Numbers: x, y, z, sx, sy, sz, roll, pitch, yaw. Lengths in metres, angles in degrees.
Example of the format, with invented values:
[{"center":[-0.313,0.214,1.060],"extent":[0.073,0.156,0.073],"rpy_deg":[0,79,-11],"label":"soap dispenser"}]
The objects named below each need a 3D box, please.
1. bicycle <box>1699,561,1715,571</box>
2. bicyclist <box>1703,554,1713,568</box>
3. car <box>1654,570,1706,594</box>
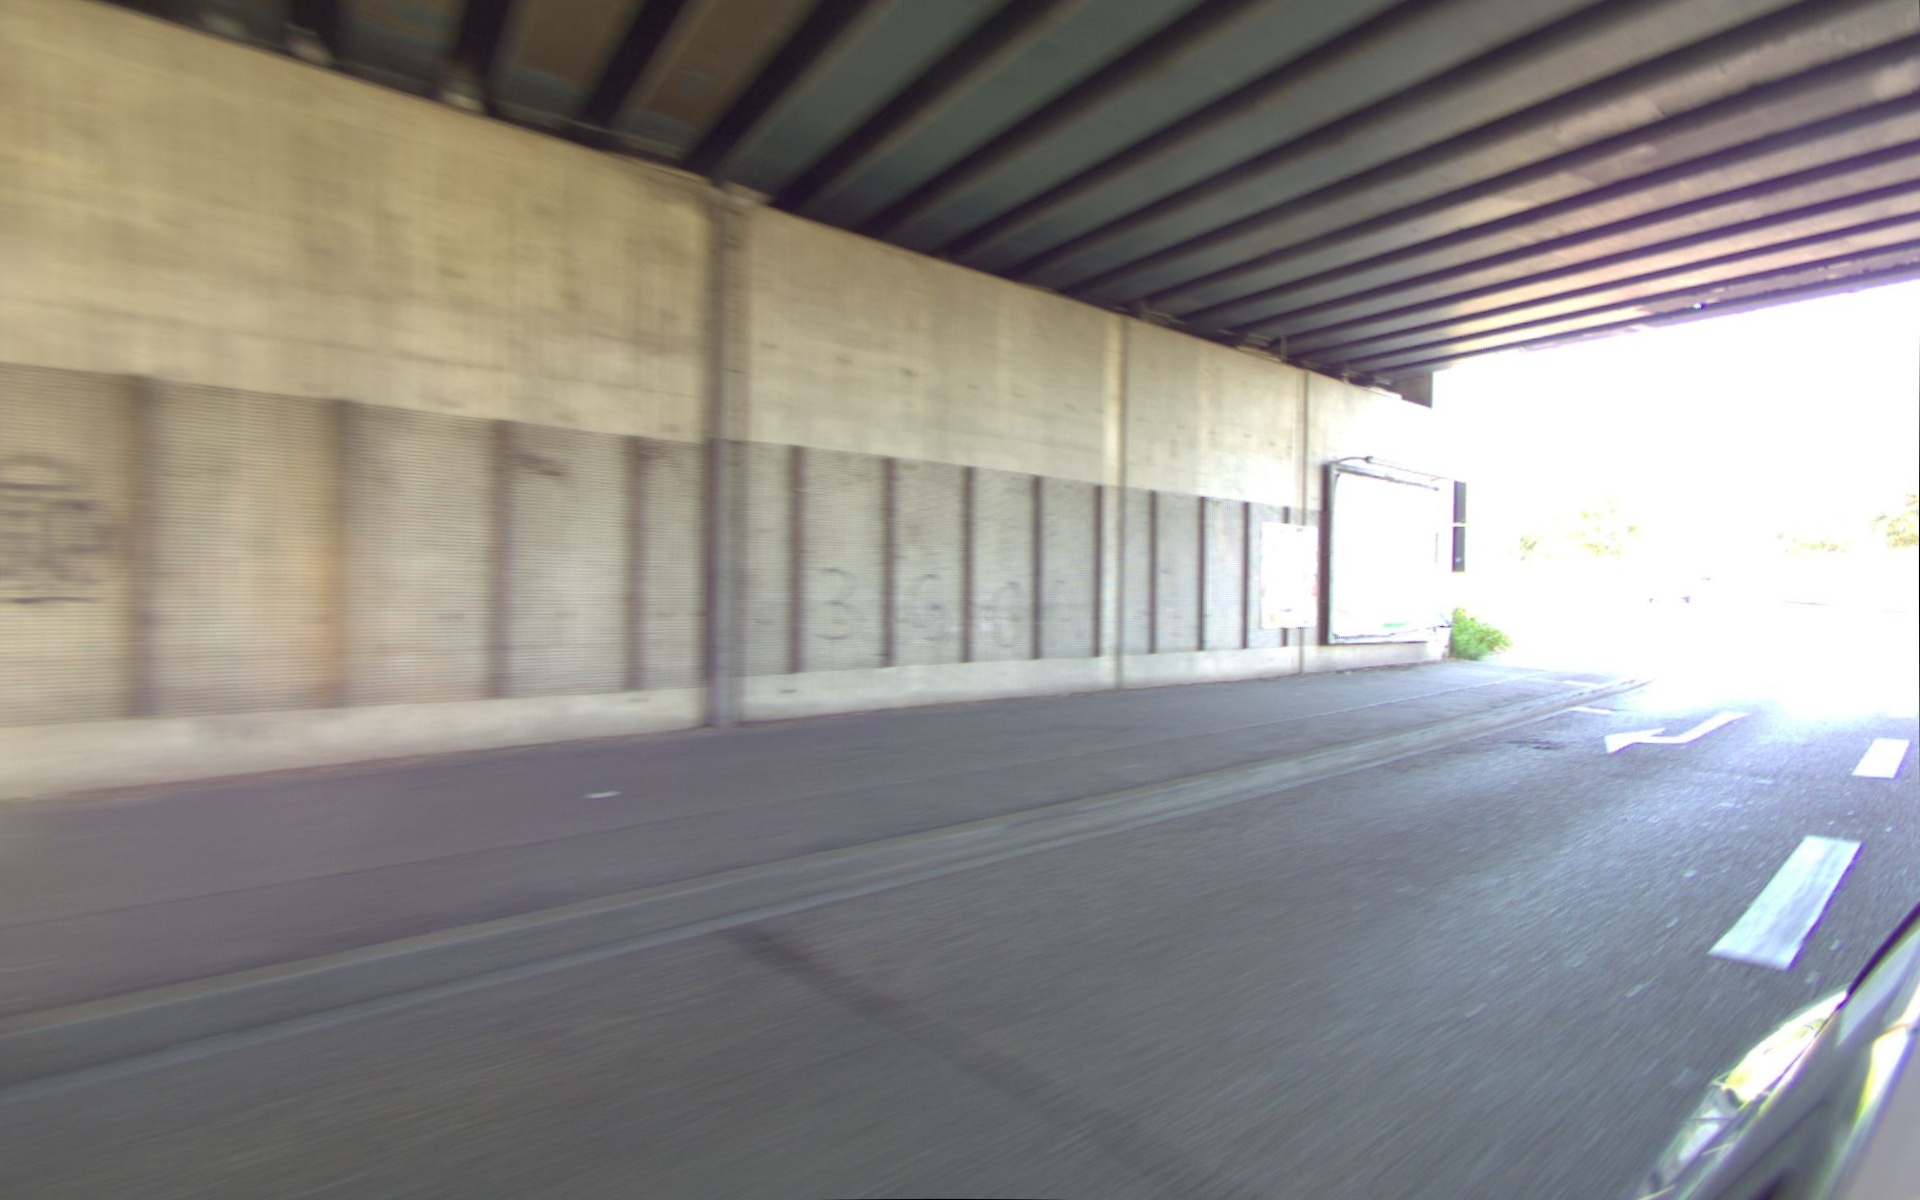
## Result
[{"center":[76.837,-3.475,104.082],"extent":[0.584,1.036,1.746],"rpy_deg":[-1,1,9],"label":"bicycle"},{"center":[76.773,-3.973,103.903],"extent":[0.584,1.445,0.707],"rpy_deg":[-1,1,9],"label":"bicyclist"},{"center":[48.989,-1.205,68.954],"extent":[1.826,1.501,3.957],"rpy_deg":[1,0,19],"label":"car"}]
